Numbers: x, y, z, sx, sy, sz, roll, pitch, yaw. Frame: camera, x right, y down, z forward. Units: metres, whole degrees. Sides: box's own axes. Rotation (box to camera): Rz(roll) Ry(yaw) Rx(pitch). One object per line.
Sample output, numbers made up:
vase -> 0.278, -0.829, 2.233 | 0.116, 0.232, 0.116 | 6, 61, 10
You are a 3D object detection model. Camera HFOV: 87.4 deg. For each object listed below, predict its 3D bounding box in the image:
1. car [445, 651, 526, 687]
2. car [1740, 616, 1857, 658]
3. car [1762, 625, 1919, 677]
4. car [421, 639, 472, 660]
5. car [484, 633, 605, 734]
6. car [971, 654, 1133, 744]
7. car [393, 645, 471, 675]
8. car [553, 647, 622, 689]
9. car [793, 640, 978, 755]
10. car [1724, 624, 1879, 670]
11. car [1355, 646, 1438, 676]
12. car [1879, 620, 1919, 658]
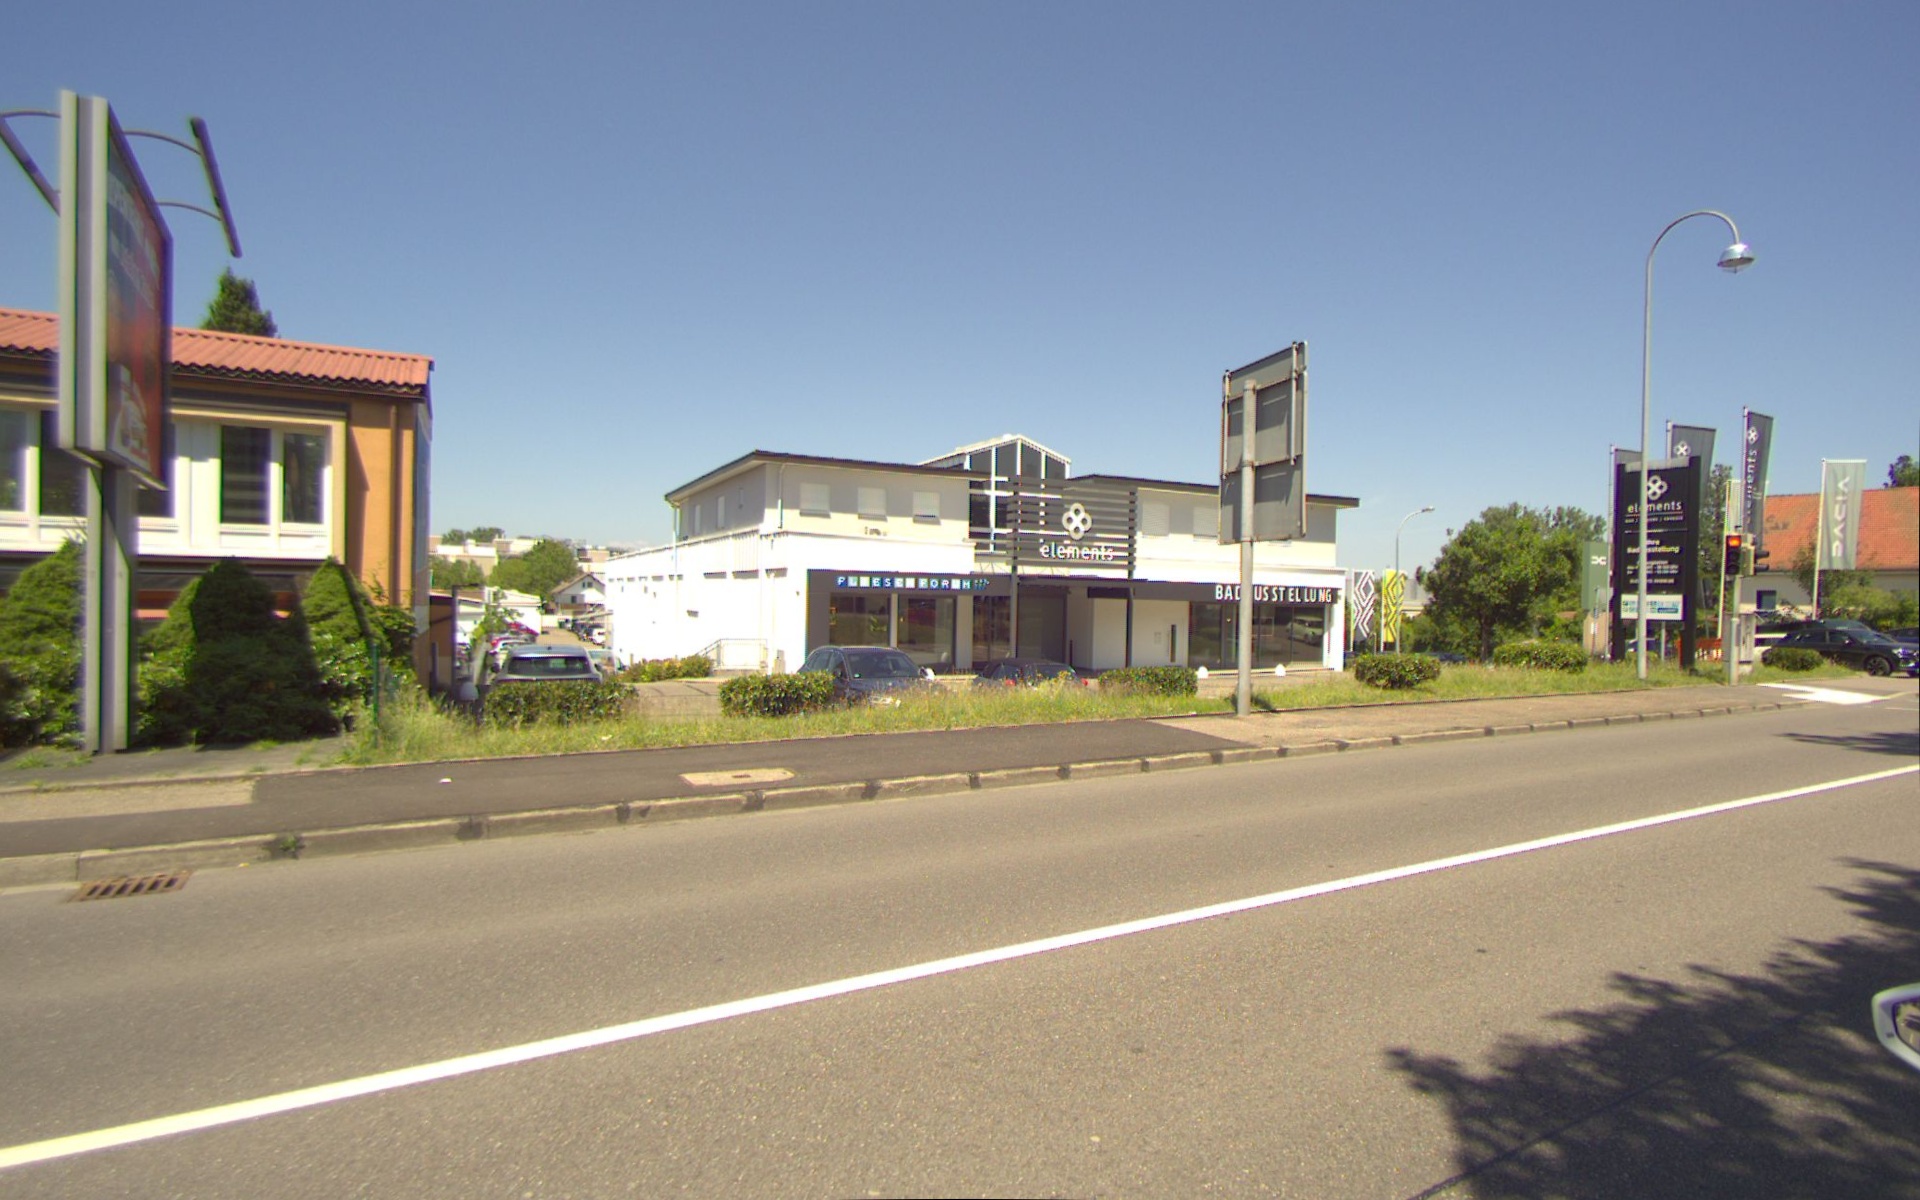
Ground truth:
car -> -25.250, 3.638, 53.507 | 3.772, 1.750, 1.739 | 2, 0, -30
car -> 34.424, 1.475, 41.299 | 1.585, 1.638, 3.467 | 1, -1, -36
car -> 28.732, 1.607, 32.351 | 1.895, 1.546, 4.298 | 1, -2, -12
car -> -35.009, 3.365, 68.523 | 3.009, 1.316, 1.296 | 2, 0, -31
car -> -7.335, 1.367, 17.723 | 1.755, 1.470, 4.017 | 1, -1, -23
car -> 1.744, 1.880, 19.926 | 1.756, 1.442, 3.327 | 1, 0, -25
car -> -30.861, 3.486, 58.738 | 3.953, 1.657, 1.835 | 2, -1, -30
car -> -19.832, 3.608, 53.662 | 1.838, 1.965, 3.790 | 1, 0, 9
car -> -1.523, 1.697, 18.782 | 1.871, 1.709, 4.314 | 2, 0, -28
car -> 31.116, 1.698, 37.323 | 4.239, 1.507, 1.993 | 1, 0, 36
car -> 24.228, 3.359, 55.876 | 1.736, 1.432, 3.968 | 2, 0, -30
car -> 38.287, 1.566, 39.036 | 1.578, 1.446, 3.482 | 1, 0, -23
